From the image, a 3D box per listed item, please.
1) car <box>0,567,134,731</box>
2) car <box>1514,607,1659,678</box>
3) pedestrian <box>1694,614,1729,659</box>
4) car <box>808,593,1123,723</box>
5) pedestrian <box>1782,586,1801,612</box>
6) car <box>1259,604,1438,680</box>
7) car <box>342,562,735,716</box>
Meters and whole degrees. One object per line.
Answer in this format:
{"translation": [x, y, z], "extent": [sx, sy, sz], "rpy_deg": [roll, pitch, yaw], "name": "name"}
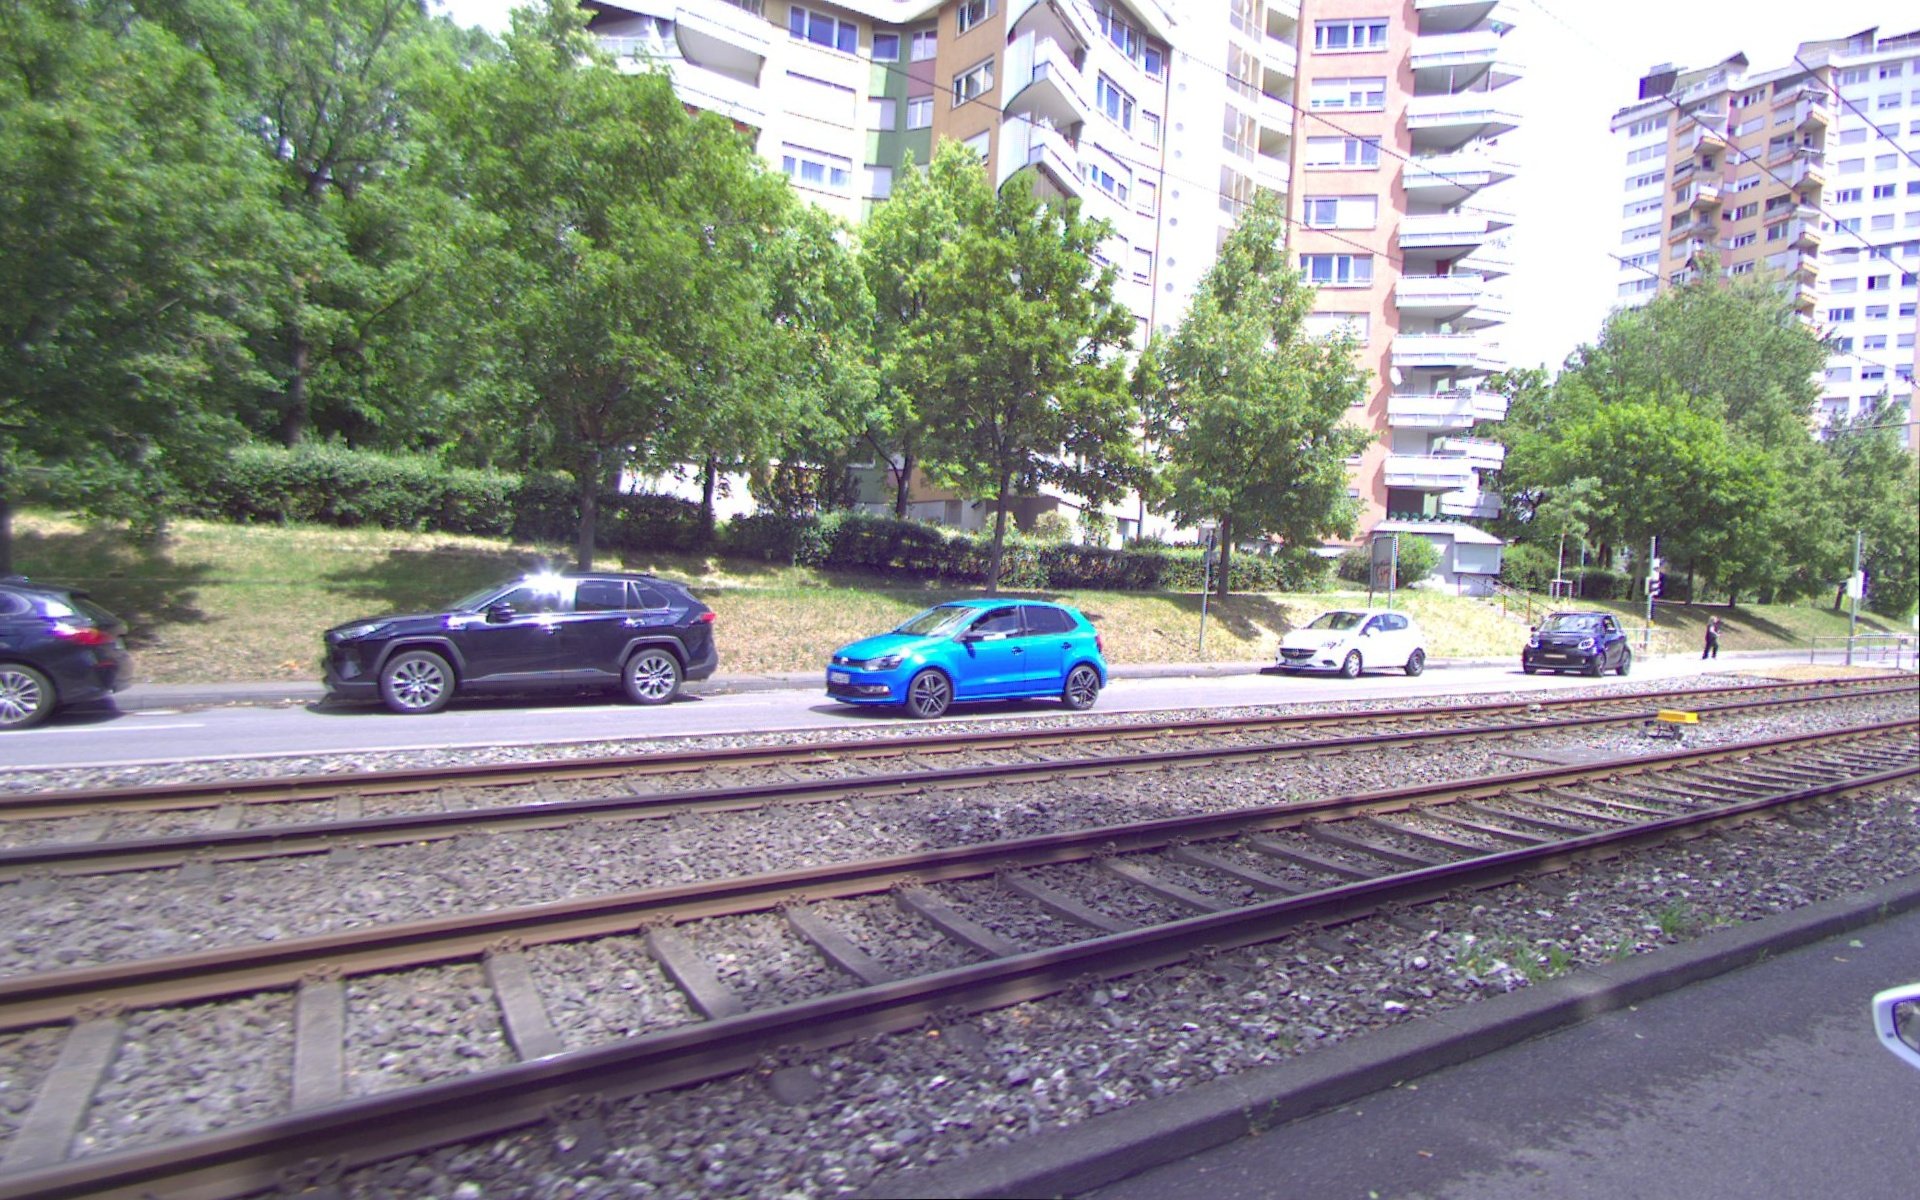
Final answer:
{"translation": [-10.411, 0.421, 9.379], "extent": [3.955, 1.518, 1.764], "rpy_deg": [1, 0, -33], "name": "car"}
{"translation": [15.384, 1.008, 24.613], "extent": [3.660, 1.585, 1.704], "rpy_deg": [1, 0, -35], "name": "car"}
{"translation": [26.735, 1.289, 35.764], "extent": [0.755, 1.555, 0.717], "rpy_deg": [1, 0, 15], "name": "pedestrian"}
{"translation": [0.137, 0.693, 13.283], "extent": [3.904, 1.461, 1.704], "rpy_deg": [1, 0, -36], "name": "car"}
{"translation": [50.340, -0.076, 60.814], "extent": [0.623, 1.555, 0.634], "rpy_deg": [1, 0, -13], "name": "pedestrian"}
{"translation": [8.711, 0.897, 22.387], "extent": [4.204, 1.552, 1.769], "rpy_deg": [1, -1, -37], "name": "car"}
{"translation": [-5.257, 0.485, 12.745], "extent": [4.336, 1.651, 1.764], "rpy_deg": [2, -1, -33], "name": "car"}
